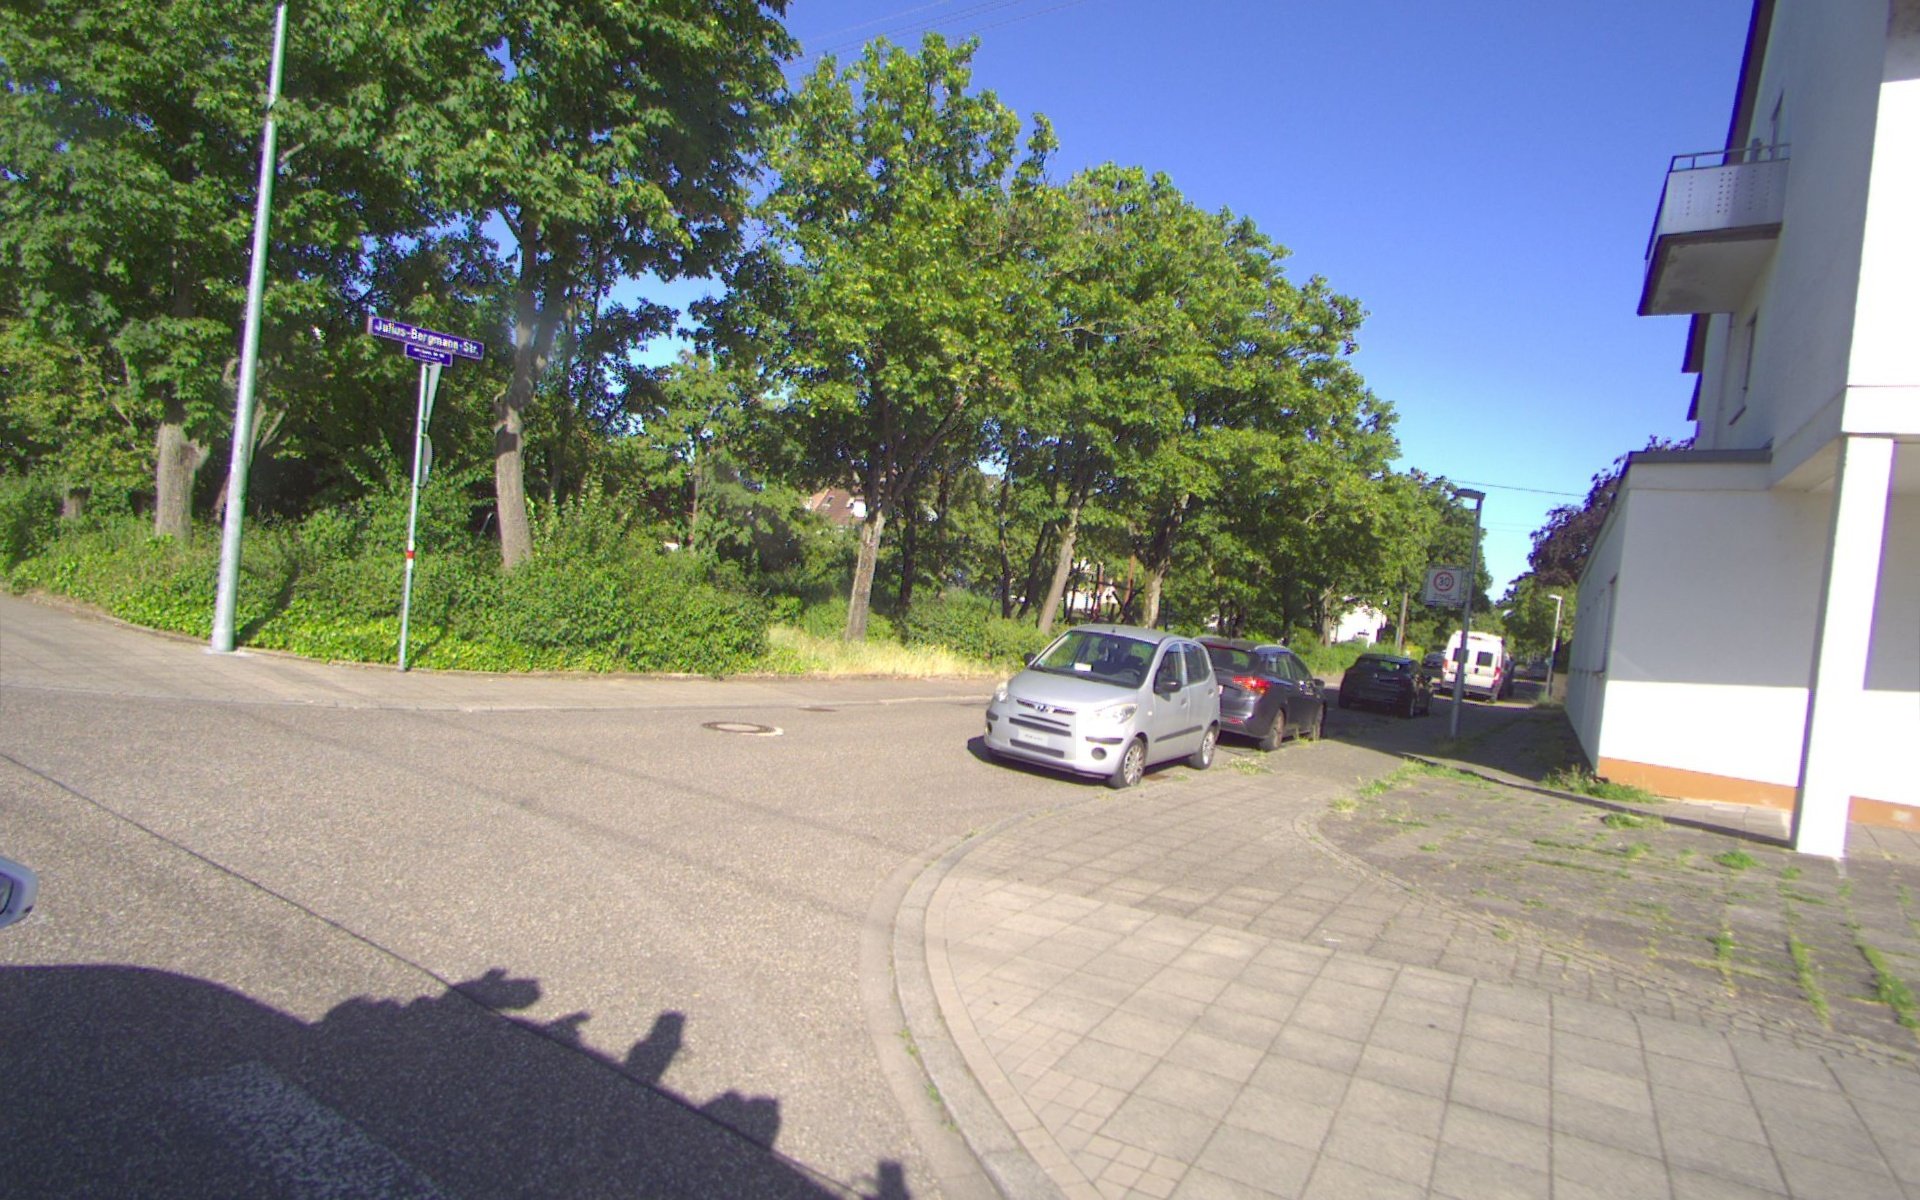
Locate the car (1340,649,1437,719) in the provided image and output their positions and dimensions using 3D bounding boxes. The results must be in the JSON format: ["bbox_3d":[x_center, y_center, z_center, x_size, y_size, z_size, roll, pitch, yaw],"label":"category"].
[{"bbox_3d":[10.915,2.106,25.494,1.612,1.464,3.701,7,0,32],"label":"car"}]

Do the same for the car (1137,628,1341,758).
[{"bbox_3d":[4.357,1.346,15.276,1.716,1.516,4.004,7,0,33],"label":"car"}]

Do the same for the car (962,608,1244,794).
[{"bbox_3d":[1.716,1.015,11.056,1.620,1.550,3.596,6,0,32],"label":"car"}]

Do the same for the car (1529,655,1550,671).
[{"bbox_3d":[88.380,9.608,153.418,2.397,1.940,5.141,6,-1,33],"label":"car"}]

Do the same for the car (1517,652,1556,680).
[{"bbox_3d":[49.614,5.676,86.502,2.397,1.940,5.141,6,-1,33],"label":"car"}]

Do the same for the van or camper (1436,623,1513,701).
[{"bbox_3d":[20.779,2.538,40.499,2.208,2.722,5.057,6,-1,31],"label":"van or camper"}]
